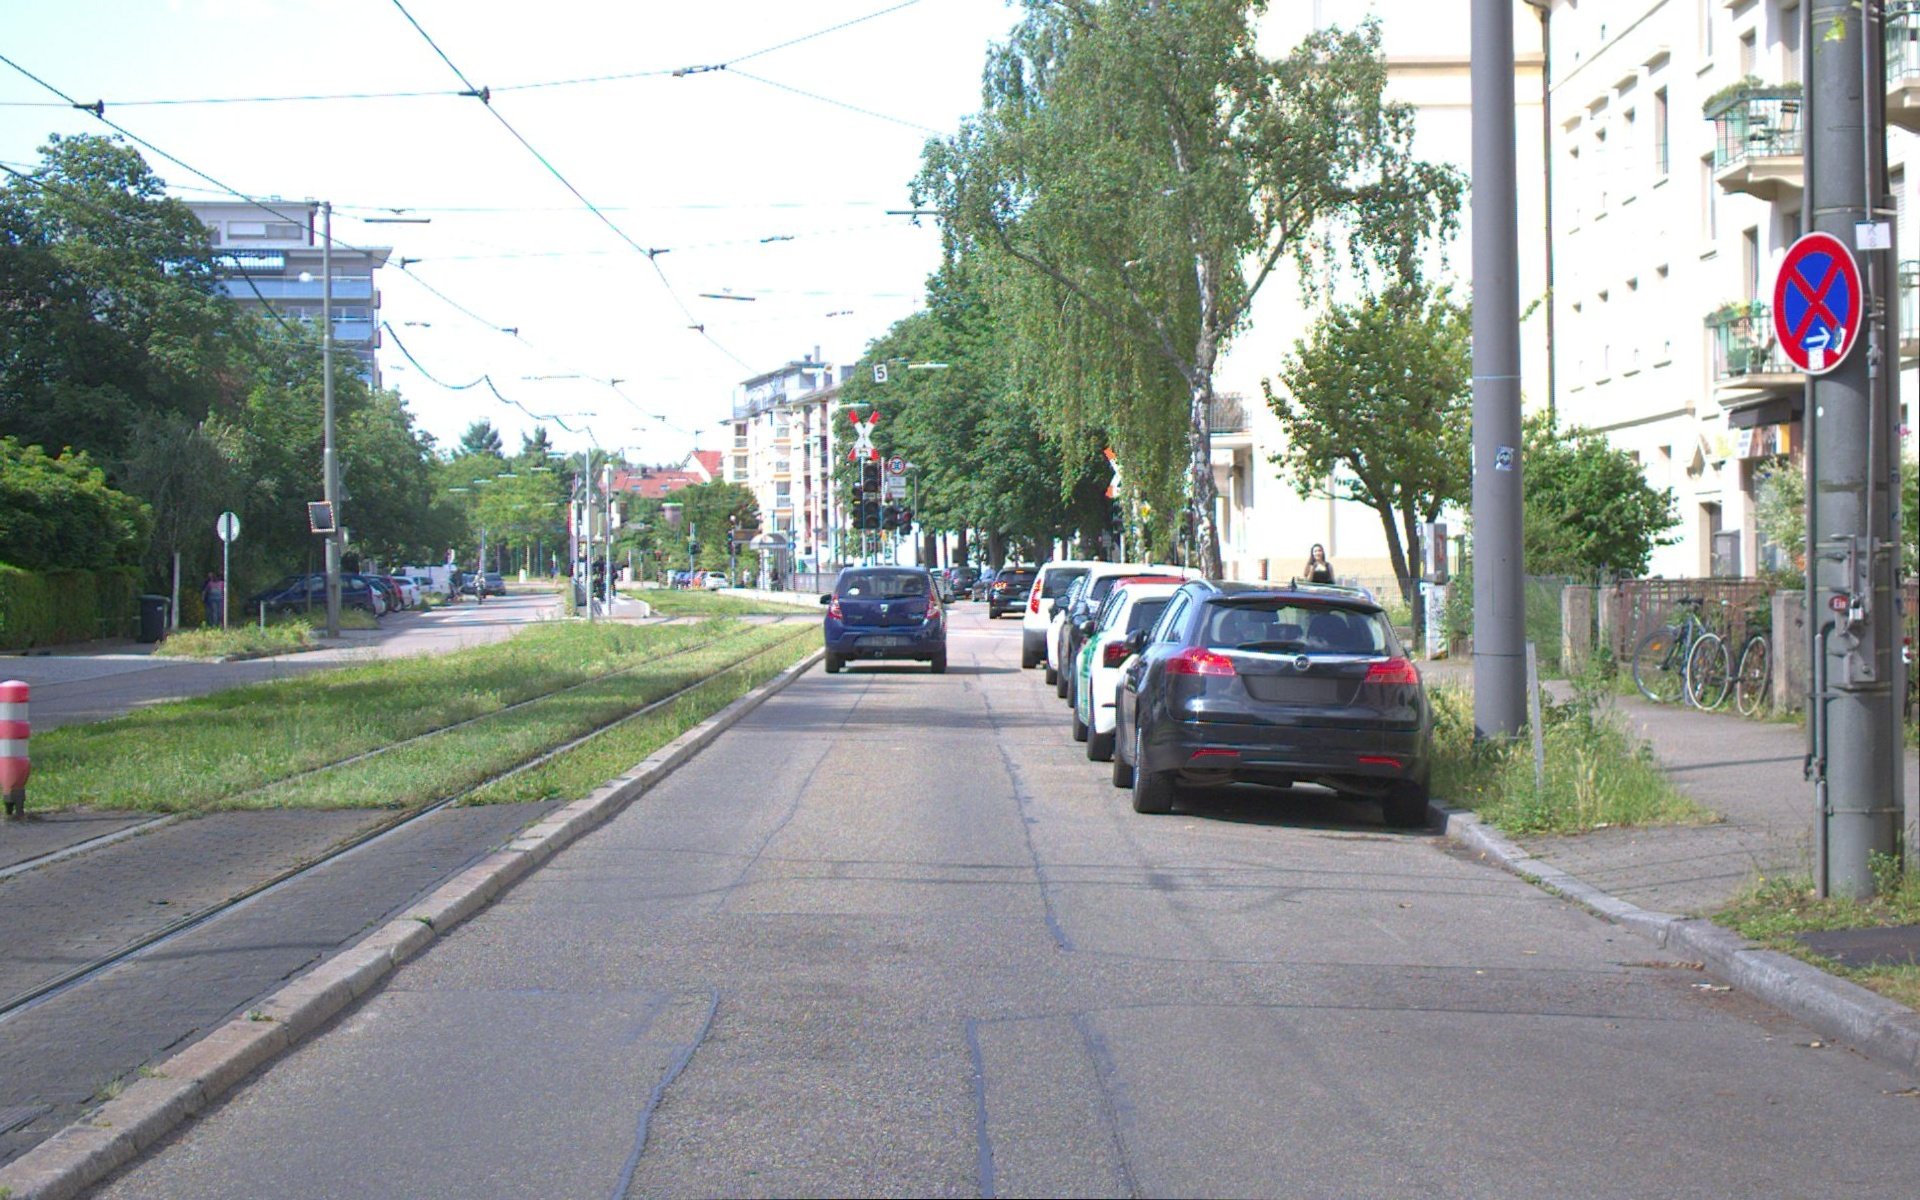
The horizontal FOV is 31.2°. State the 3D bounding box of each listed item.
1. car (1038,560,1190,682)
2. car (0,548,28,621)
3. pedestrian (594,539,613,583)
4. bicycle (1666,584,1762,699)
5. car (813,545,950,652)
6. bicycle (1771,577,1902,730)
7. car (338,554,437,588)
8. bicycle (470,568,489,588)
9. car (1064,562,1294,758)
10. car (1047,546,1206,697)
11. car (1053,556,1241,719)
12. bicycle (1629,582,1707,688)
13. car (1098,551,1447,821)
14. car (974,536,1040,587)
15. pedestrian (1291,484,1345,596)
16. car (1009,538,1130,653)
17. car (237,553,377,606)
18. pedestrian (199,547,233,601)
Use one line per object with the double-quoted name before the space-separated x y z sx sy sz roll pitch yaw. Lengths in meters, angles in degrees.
"car" 1.917 0.233 43.749 1.672 1.412 3.795 2 1 -1
"car" -22.716 -0.329 75.508 3.986 1.590 2.000 0 1 -3
"pedestrian" -14.150 -1.553 136.469 0.604 1.760 0.639 0 1 4
"bicycle" 6.572 0.343 30.034 0.377 0.940 2.009 0 1 0
"car" -1.084 -0.055 49.176 1.768 1.457 3.775 1 1 1
"bicycle" 6.585 0.377 25.911 0.471 1.073 2.183 -1 1 2
"car" -24.902 -1.250 149.622 1.715 1.363 3.990 0 1 44
"bicycle" -24.261 -1.123 173.531 0.680 0.967 2.179 -1 1 -2
"car" 1.785 0.449 29.026 1.619 1.447 3.918 3 1 0
"car" 1.846 0.202 38.963 1.493 1.574 3.759 2 1 -1
"car" 1.805 0.331 34.194 1.589 1.447 3.844 3 1 0
"bicycle" 6.578 0.314 31.987 0.387 0.935 1.585 0 1 0
"car" 1.937 0.478 22.592 1.792 1.515 4.527 2 1 0
"car" 1.307 -1.103 97.101 1.700 1.363 3.515 1 1 -2
"pedestrian" 5.503 -0.923 52.882 0.730 1.677 0.691 -2 1 4
"car" 1.693 -0.088 52.222 1.721 1.624 4.000 2 1 3
"car" -20.885 -0.681 110.064 4.122 1.635 1.725 -1 1 -45
"pedestrian" -21.905 -0.767 101.212 0.745 1.568 0.889 -1 -1 3
